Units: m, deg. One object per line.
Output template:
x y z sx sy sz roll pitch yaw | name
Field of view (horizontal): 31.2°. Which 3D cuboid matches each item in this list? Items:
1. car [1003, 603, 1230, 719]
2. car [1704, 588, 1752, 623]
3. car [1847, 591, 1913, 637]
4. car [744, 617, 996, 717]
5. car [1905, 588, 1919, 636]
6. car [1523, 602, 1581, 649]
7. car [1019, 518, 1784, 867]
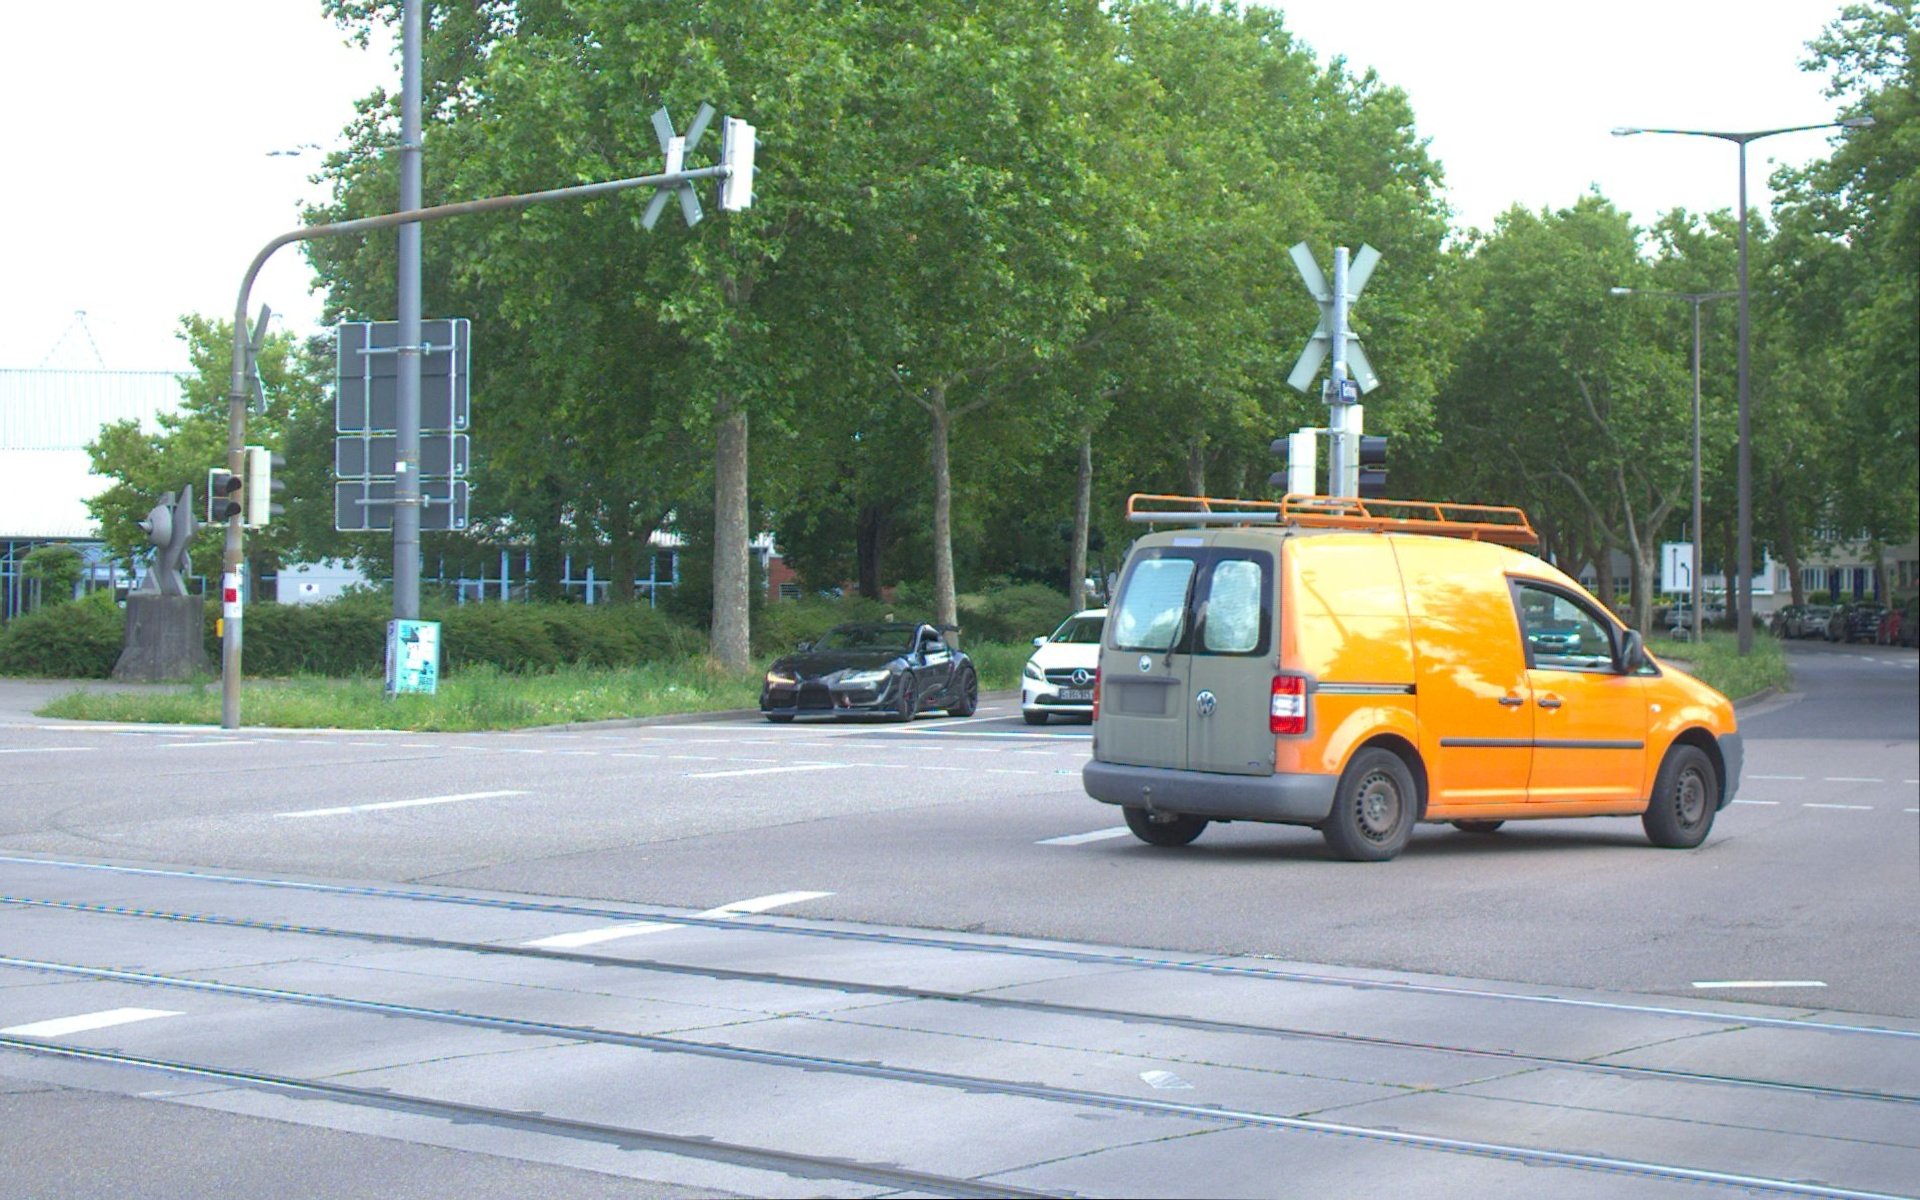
2.041 0.738 43.587 1.827 1.360 4.134 1 0 18 | car
38.358 0.258 171.771 1.994 1.568 3.999 0 2 8 | car
35.229 0.515 131.733 1.994 1.568 3.999 0 2 8 | car
-1.106 0.829 44.038 1.637 1.187 3.703 1 0 27 | car
35.157 0.427 123.250 1.994 1.568 3.999 0 2 8 | car
18.113 0.768 105.266 1.657 1.267 3.770 0 2 9 | car
2.616 0.484 19.782 4.357 1.794 1.883 1 0 -40 | car
